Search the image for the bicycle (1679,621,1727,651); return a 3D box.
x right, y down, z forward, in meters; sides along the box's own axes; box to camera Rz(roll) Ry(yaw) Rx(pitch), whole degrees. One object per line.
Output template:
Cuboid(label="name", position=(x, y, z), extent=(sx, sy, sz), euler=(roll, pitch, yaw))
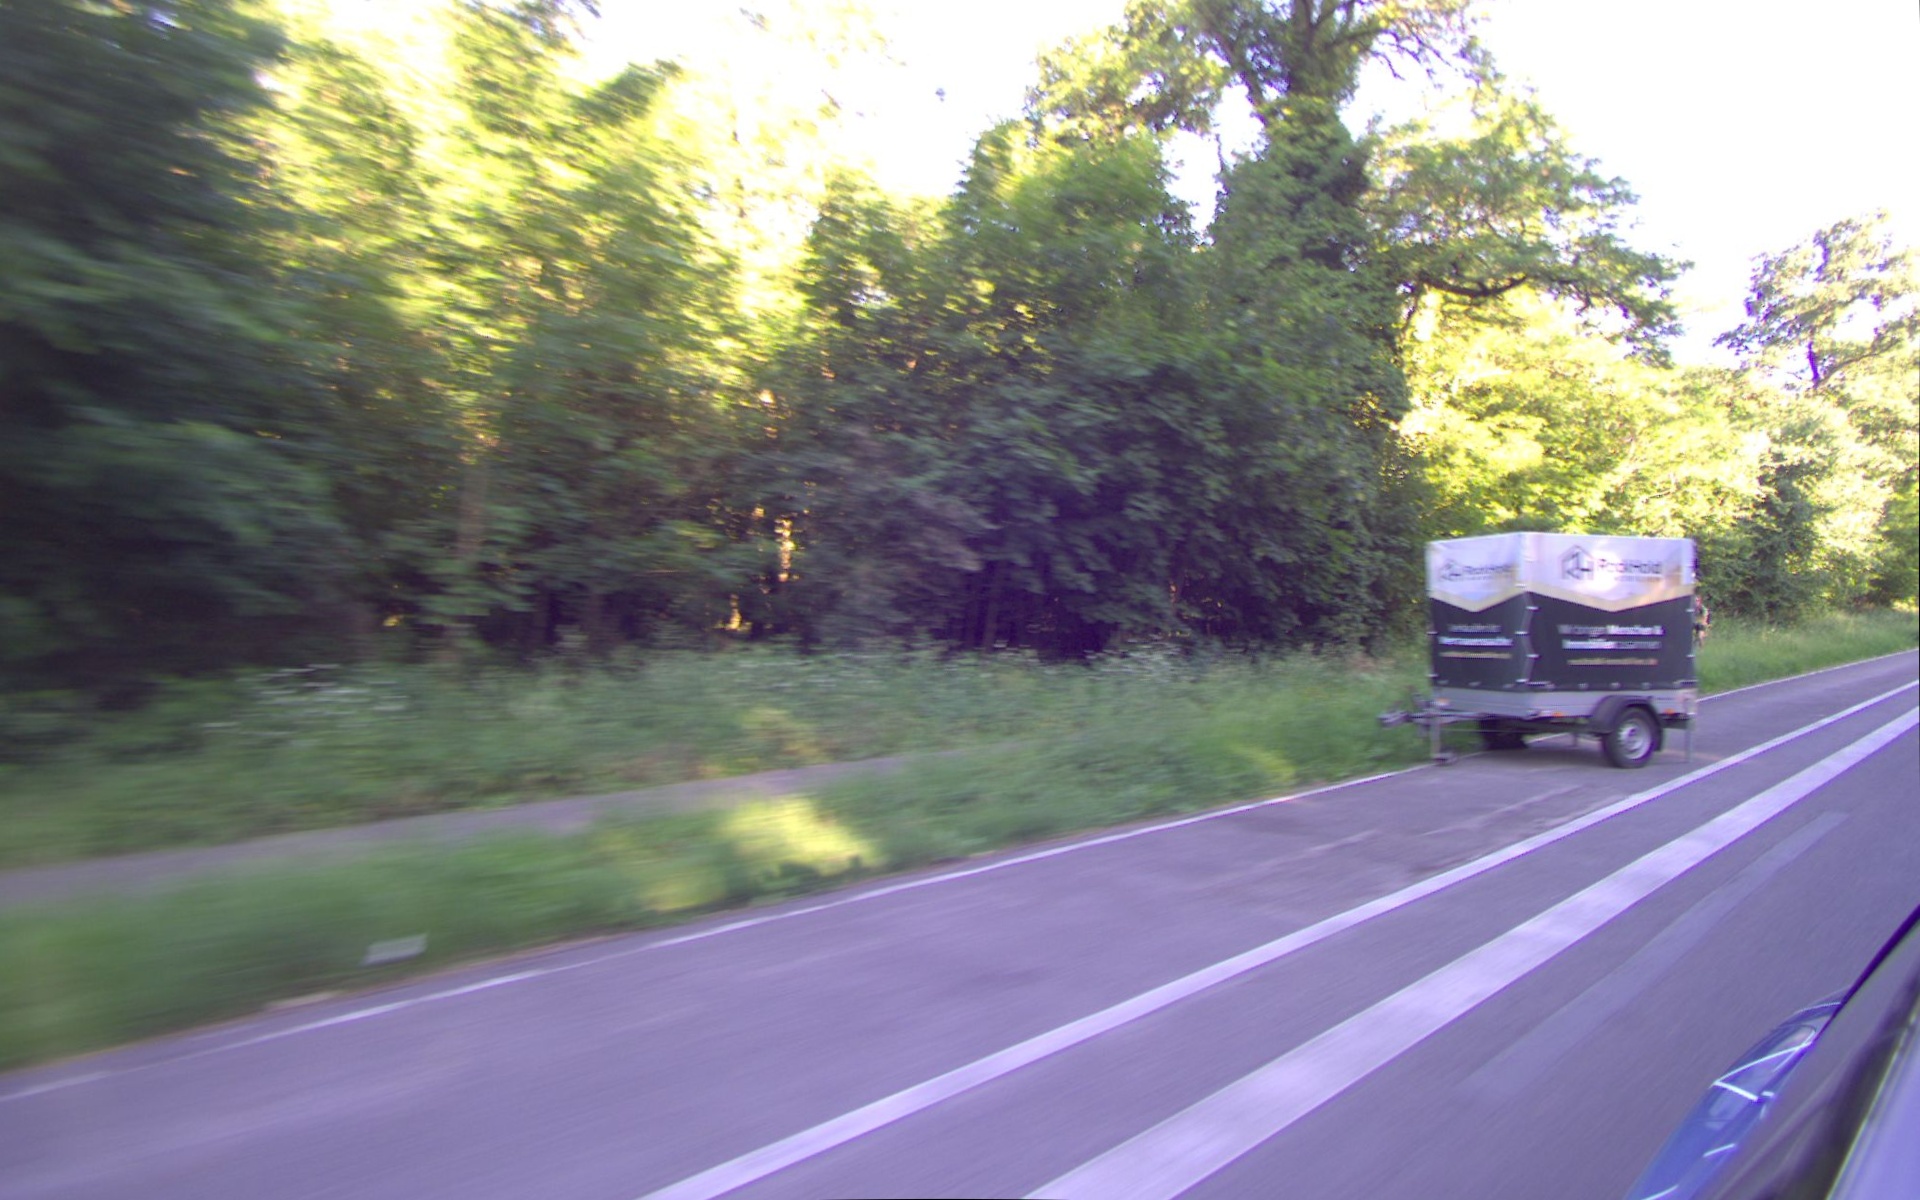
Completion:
Cuboid(label="bicycle", position=(19.555, 0.933, 26.628), extent=(1.961, 0.701, 0.592), euler=(0, 1, -41))

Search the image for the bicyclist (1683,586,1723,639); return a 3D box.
Cuboid(label="bicyclist", position=(19.580, 0.322, 26.666), extent=(1.155, 1.341, 0.611), euler=(0, 1, -41))

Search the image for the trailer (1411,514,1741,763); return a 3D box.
Cuboid(label="trailer", position=(5.944, 0.320, 9.859), extent=(2.346, 2.139, 1.623), euler=(0, 0, -20))
